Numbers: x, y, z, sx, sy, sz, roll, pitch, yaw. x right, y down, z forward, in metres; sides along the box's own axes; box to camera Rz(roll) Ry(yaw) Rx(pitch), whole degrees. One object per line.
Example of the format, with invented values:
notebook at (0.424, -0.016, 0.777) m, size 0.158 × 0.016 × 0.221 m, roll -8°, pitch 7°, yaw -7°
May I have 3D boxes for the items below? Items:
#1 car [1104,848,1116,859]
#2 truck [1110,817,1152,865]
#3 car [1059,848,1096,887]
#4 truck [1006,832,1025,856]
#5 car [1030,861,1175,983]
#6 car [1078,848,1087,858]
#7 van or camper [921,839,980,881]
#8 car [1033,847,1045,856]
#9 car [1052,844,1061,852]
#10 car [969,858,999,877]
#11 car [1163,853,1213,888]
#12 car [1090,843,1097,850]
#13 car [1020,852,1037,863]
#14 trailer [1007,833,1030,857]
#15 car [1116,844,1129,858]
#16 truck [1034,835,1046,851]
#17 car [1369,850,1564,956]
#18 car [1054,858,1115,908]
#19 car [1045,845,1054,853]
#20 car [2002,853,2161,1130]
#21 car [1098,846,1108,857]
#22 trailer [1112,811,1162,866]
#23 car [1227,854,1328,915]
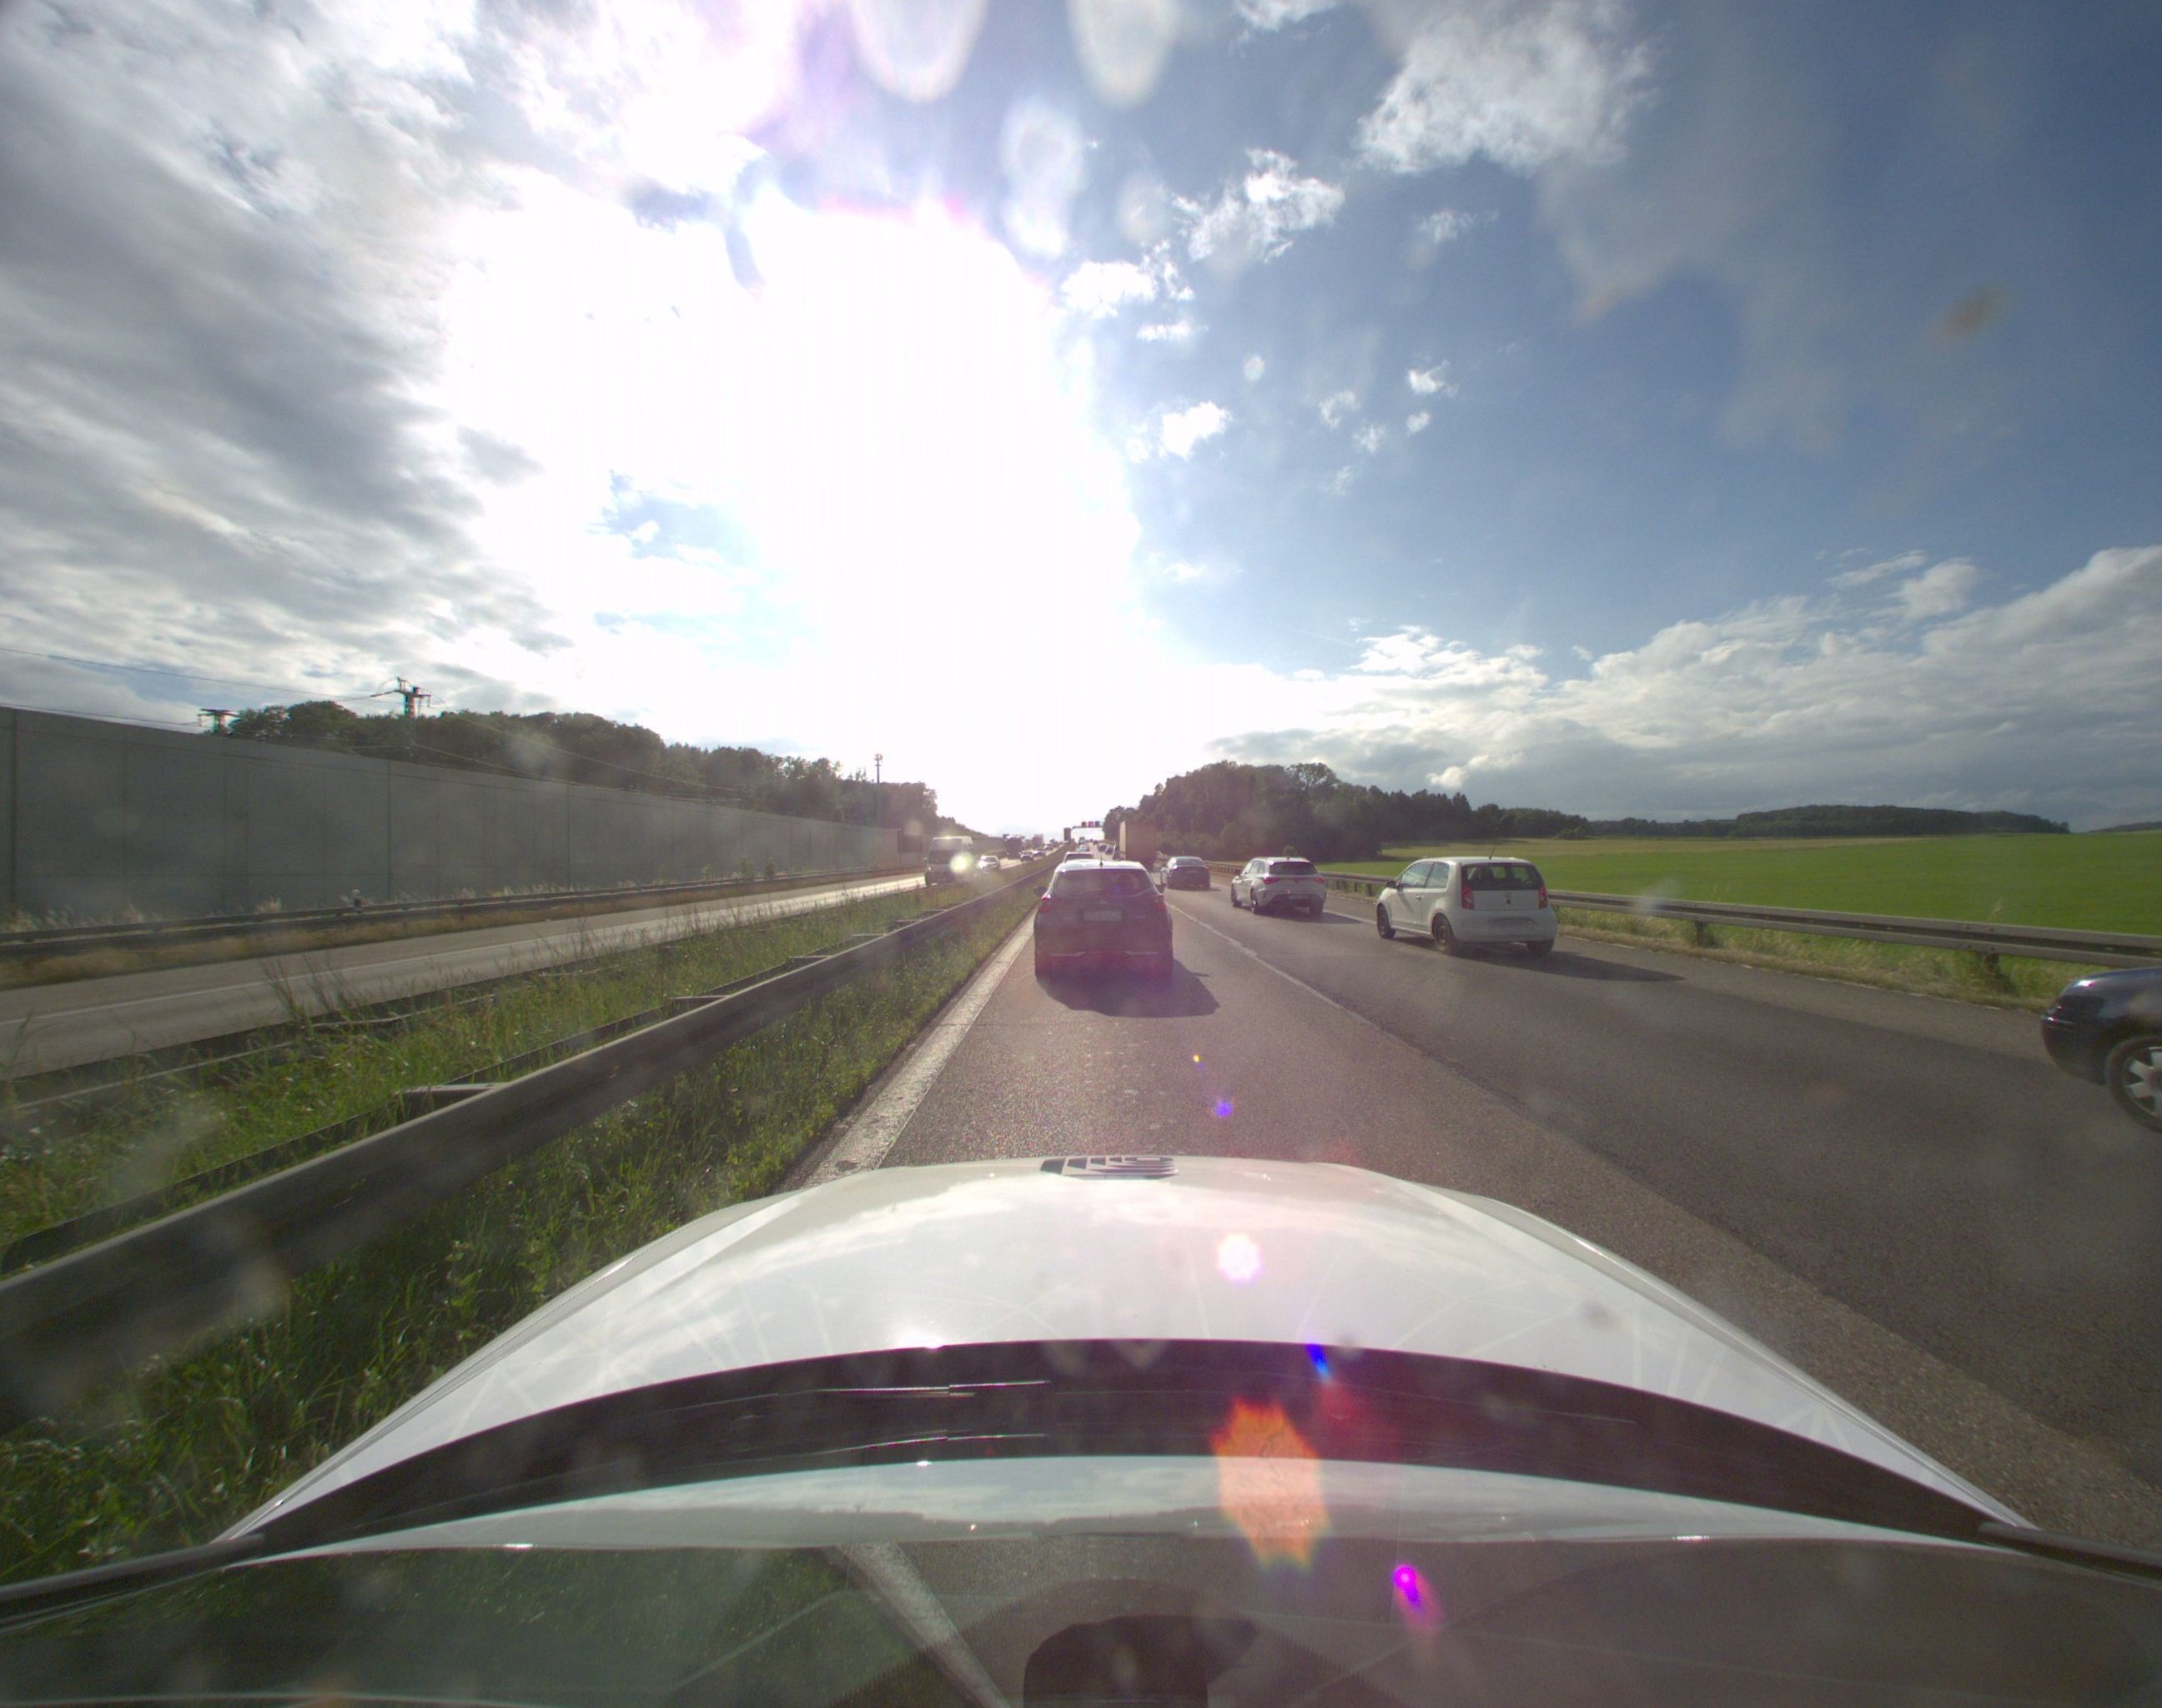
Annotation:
car at (5.238, -0.119, 148.647) m, size 1.987 × 2.014 × 3.998 m, roll 0°, pitch -1°, yaw -1°
truck at (4.735, -1.158, 78.836) m, size 3.571 × 4.380 × 6.686 m, roll 0°, pitch -1°, yaw -1°
car at (-0.130, 0.635, 39.055) m, size 1.668 × 1.726 × 3.597 m, roll -1°, pitch -1°, yaw 1°
truck at (-10.881, -1.567, 135.859) m, size 2.544 × 3.798 × 5.417 m, roll -3°, pitch -1°, yaw 1°
car at (0.305, 0.823, 11.354) m, size 1.703 × 1.426 × 3.379 m, roll -1°, pitch -1°, yaw 2°
car at (0.242, -0.238, 180.743) m, size 1.987 × 2.014 × 3.998 m, roll 0°, pitch -1°, yaw -1°
van or camper at (-7.299, 0.338, 46.170) m, size 2.158 × 2.205 × 6.260 m, roll 0°, pitch -1°, yaw 2°
car at (-7.241, -0.443, 141.155) m, size 1.797 × 1.516 × 4.691 m, roll 0°, pitch -1°, yaw 1°
car at (-6.767, -1.678, 225.612) m, size 1.987 × 1.883 × 4.787 m, roll -3°, pitch -1°, yaw 0°
car at (-8.044, 1.097, 68.150) m, size 1.836 × 1.508 × 4.552 m, roll 0°, pitch -1°, yaw 2°
car at (4.690, 0.721, 36.259) m, size 1.741 × 1.475 × 4.147 m, roll -1°, pitch -1°, yaw 1°
car at (3.732, -2.310, 242.851) m, size 1.987 × 2.014 × 3.998 m, roll 0°, pitch -1°, yaw -1°
car at (-7.371, 0.531, 114.447) m, size 1.986 × 1.486 × 4.399 m, roll 0°, pitch -1°, yaw 1°
trailer at (-10.811, -1.533, 141.851) m, size 2.531 × 3.771 × 12.542 m, roll -2°, pitch -1°, yaw 1°
car at (5.589, -0.382, 110.360) m, size 1.661 × 1.755 × 3.328 m, roll 0°, pitch -1°, yaw 2°
truck at (-10.720, -2.853, 213.548) m, size 2.745 × 4.090 × 6.952 m, roll -1°, pitch -1°, yaw 0°
car at (6.107, 0.694, 13.311) m, size 1.544 × 1.495 × 3.376 m, roll 0°, pitch 0°, yaw -1°
car at (0.147, 0.819, 24.292) m, size 1.668 × 1.367 × 3.597 m, roll -1°, pitch -1°, yaw 1°
car at (-7.438, -1.085, 193.021) m, size 1.853 × 1.834 × 4.281 m, roll 0°, pitch -1°, yaw 1°
car at (6.501, 0.699, 3.095) m, size 1.705 × 1.445 × 3.772 m, roll 0°, pitch -1°, yaw -1°
car at (4.505, -0.489, 166.657) m, size 1.987 × 2.014 × 3.998 m, roll 0°, pitch -1°, yaw -1°
trailer at (4.788, -1.198, 72.223) m, size 3.538 × 4.457 × 12.718 m, roll 0°, pitch -1°, yaw 0°
car at (5.105, 0.756, 21.665) m, size 1.616 × 1.445 × 4.144 m, roll 0°, pitch -1°, yaw -1°
